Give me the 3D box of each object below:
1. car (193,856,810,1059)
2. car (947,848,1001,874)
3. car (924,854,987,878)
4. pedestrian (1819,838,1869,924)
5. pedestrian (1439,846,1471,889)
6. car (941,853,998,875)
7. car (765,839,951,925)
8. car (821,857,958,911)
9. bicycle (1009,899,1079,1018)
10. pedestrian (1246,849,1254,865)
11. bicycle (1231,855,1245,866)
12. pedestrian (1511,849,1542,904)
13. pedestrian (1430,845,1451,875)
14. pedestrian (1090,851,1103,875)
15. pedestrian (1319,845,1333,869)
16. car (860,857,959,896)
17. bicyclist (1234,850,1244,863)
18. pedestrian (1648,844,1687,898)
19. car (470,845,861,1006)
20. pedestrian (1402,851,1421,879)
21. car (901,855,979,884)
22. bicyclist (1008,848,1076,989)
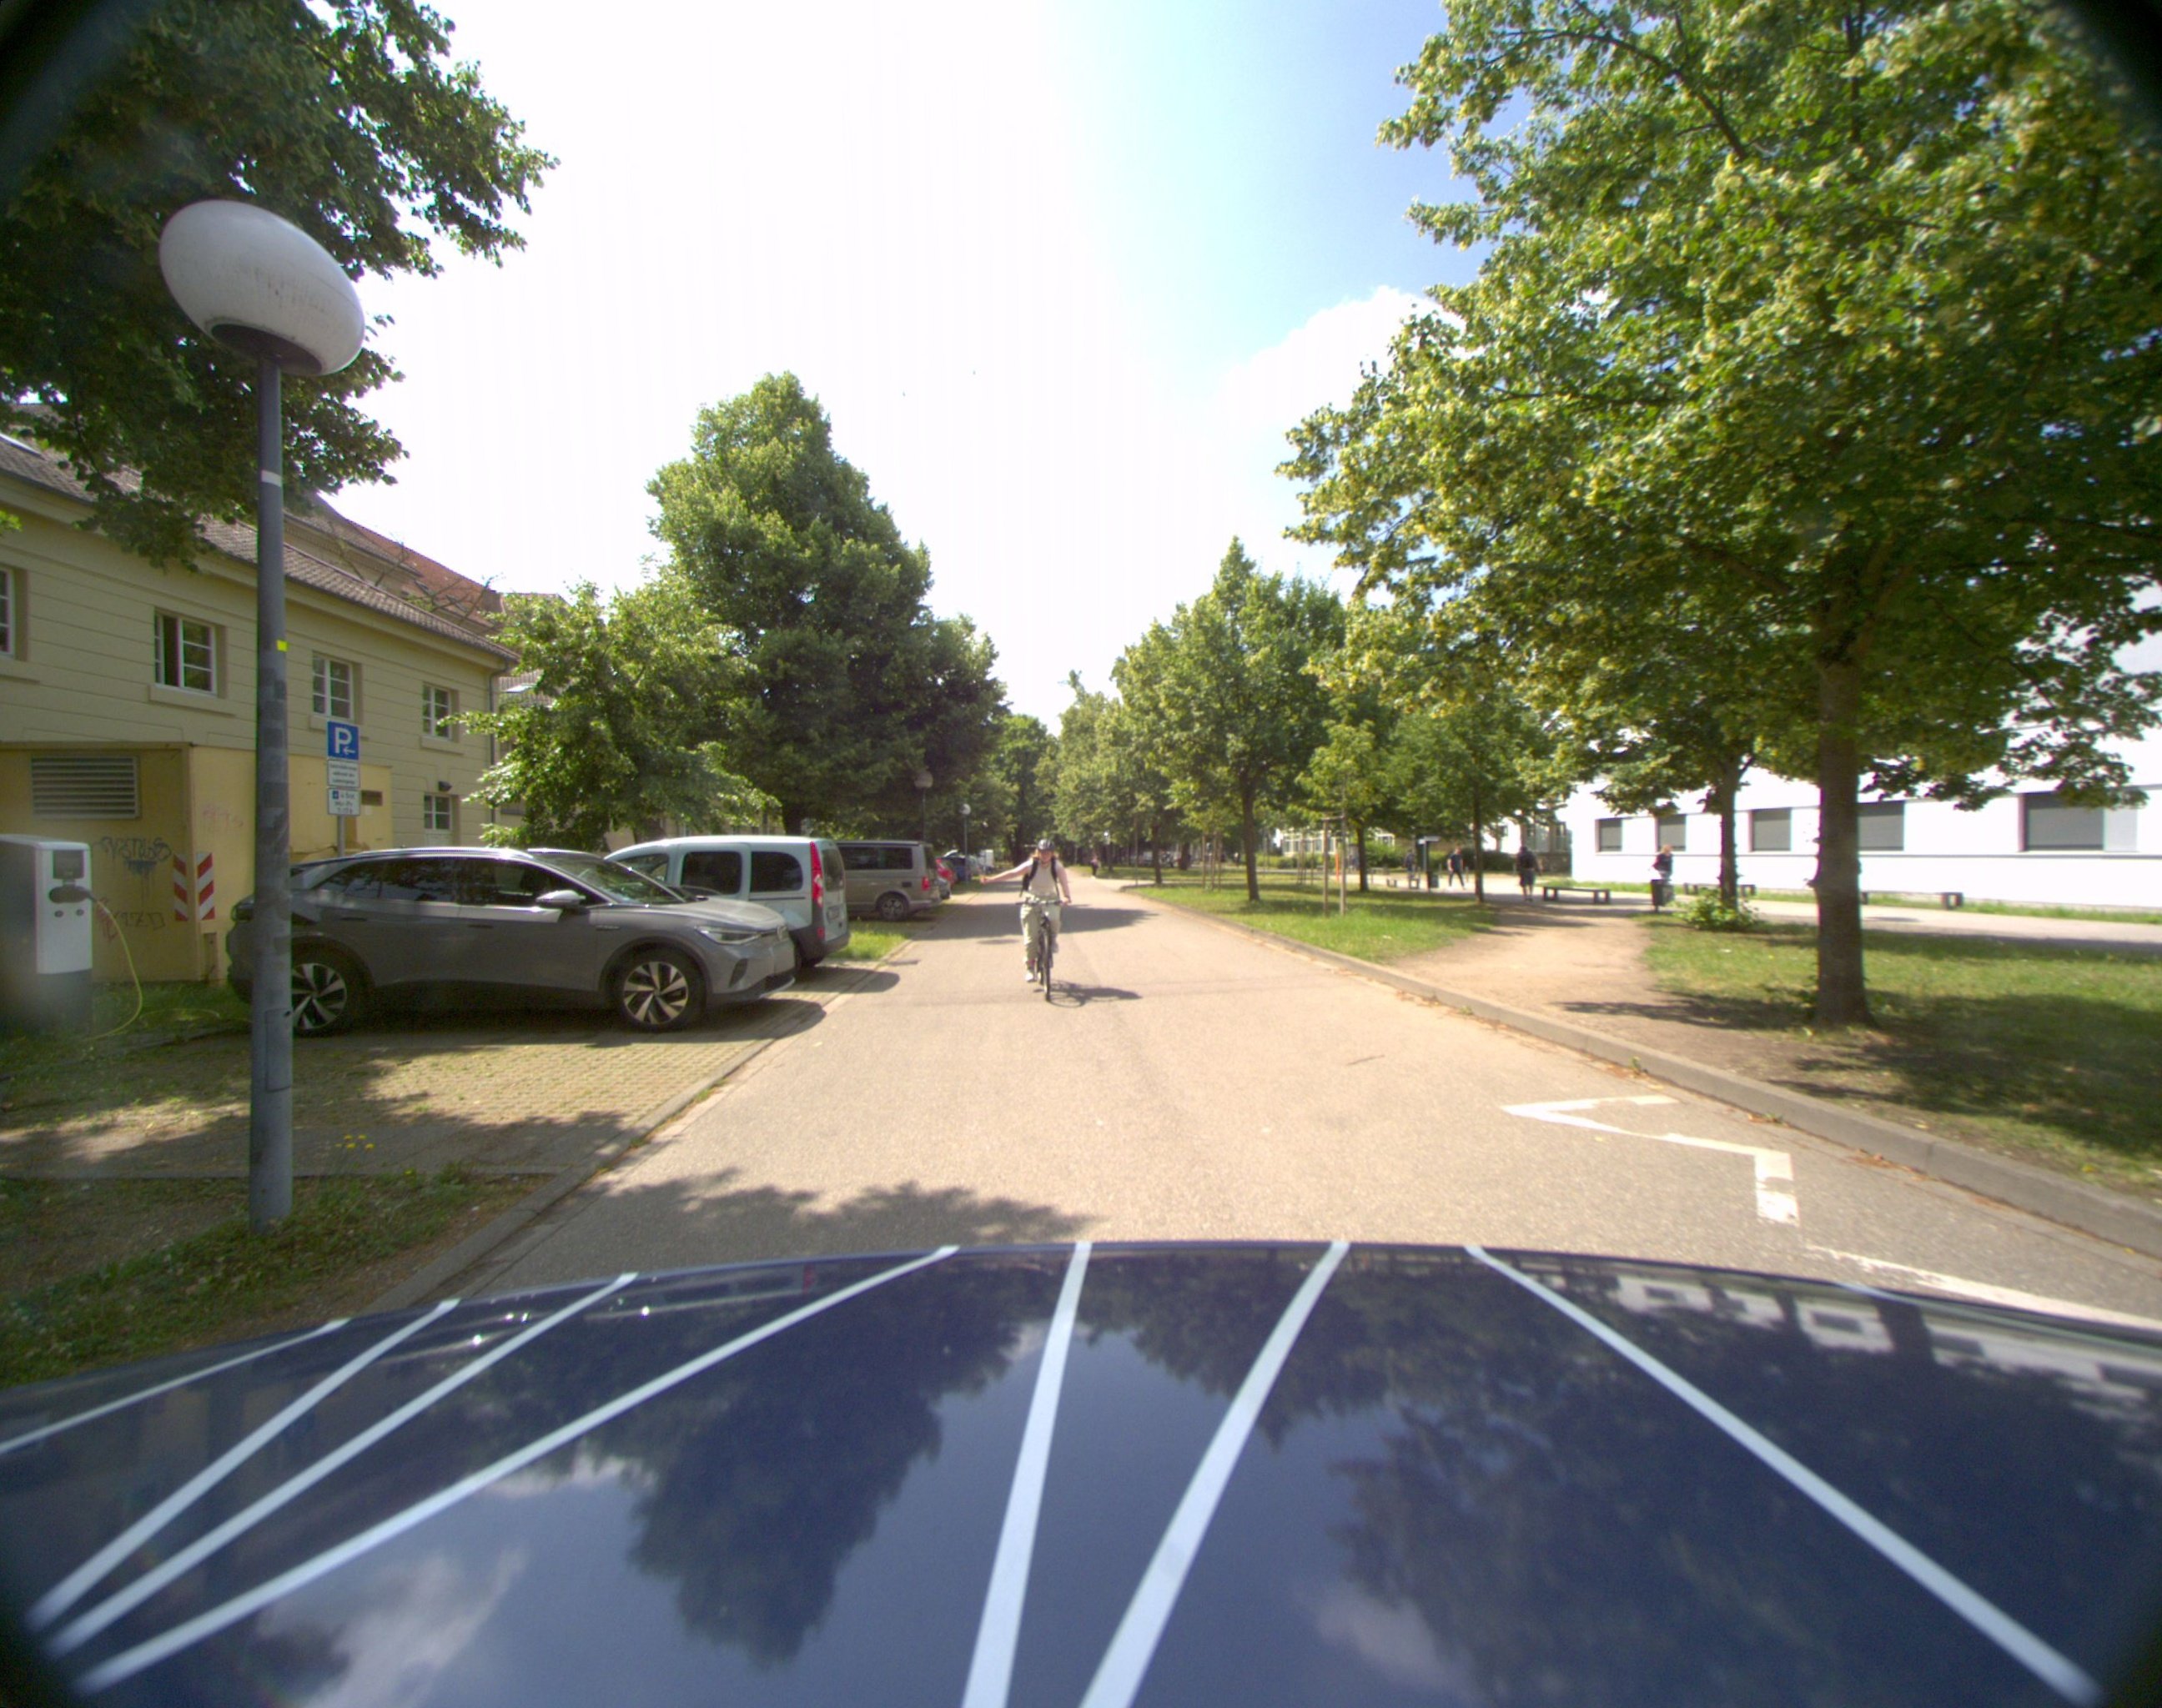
[{"bbox_3d":[-5.095,0.853,7.286,4.361,1.642,1.894,0,0,-5],"label":"car"},{"bbox_3d":[-8.005,0.502,57.000,3.853,1.869,1.780,-1,1,-2],"label":"car"},{"bbox_3d":[-8.246,0.763,50.121,3.853,1.513,1.723,-1,1,-2],"label":"car"},{"bbox_3d":[16.225,0.554,16.152,0.832,1.759,0.709,-1,1,-43],"label":"pedestrian"},{"bbox_3d":[15.453,0.552,31.427,0.793,1.765,1.095,-1,1,2],"label":"pedestrian"},{"bbox_3d":[-7.921,0.702,54.237,3.853,1.566,1.702,-1,1,-2],"label":"car"},{"bbox_3d":[-5.435,0.646,18.983,4.050,2.002,1.999,-1,1,-2],"label":"car"},{"bbox_3d":[-5.916,0.906,23.816,3.853,1.585,1.785,-1,1,-2],"label":"car"},{"bbox_3d":[-0.443,1.118,8.764,0.675,1.066,2.135,-2,0,-4],"label":"bicycle"},{"bbox_3d":[17.027,0.269,76.538,0.596,1.619,0.763,-1,1,-4],"label":"pedestrian"},{"bbox_3d":[16.037,0.647,77.606,0.779,1.026,2.148,-1,0,-4],"label":"bicycle"},{"bbox_3d":[13.494,0.666,23.015,0.725,1.647,0.717,0,1,37],"label":"pedestrian"},{"bbox_3d":[21.828,0.357,46.142,0.849,1.813,0.803,-1,1,-2],"label":"pedestrian"},{"bbox_3d":[0.972,0.568,47.521,0.796,1.479,0.635,-1,1,-4],"label":"pedestrian"},{"bbox_3d":[18.300,0.216,56.725,0.796,1.712,0.635,-1,1,-4],"label":"pedestrian"},{"bbox_3d":[-7.230,0.932,32.358,3.853,1.525,1.785,-1,1,-2],"label":"car"},{"bbox_3d":[16.041,0.261,77.295,0.779,1.325,0.828,-1,1,-4],"label":"bicyclist"},{"bbox_3d":[18.330,0.520,23.760,0.628,1.678,0.725,-1,1,-4],"label":"pedestrian"},{"bbox_3d":[-5.076,0.817,9.798,3.999,1.827,1.823,-1,1,-5],"label":"car"},{"bbox_3d":[19.064,0.626,43.834,0.849,1.639,0.804,0,1,7],"label":"pedestrian"},{"bbox_3d":[-7.541,0.813,40.906,3.853,1.479,1.723,-1,1,-2],"label":"car"},{"bbox_3d":[-0.449,0.684,8.639,0.675,1.470,1.062,-2,1,-4],"label":"bicyclist"}]
